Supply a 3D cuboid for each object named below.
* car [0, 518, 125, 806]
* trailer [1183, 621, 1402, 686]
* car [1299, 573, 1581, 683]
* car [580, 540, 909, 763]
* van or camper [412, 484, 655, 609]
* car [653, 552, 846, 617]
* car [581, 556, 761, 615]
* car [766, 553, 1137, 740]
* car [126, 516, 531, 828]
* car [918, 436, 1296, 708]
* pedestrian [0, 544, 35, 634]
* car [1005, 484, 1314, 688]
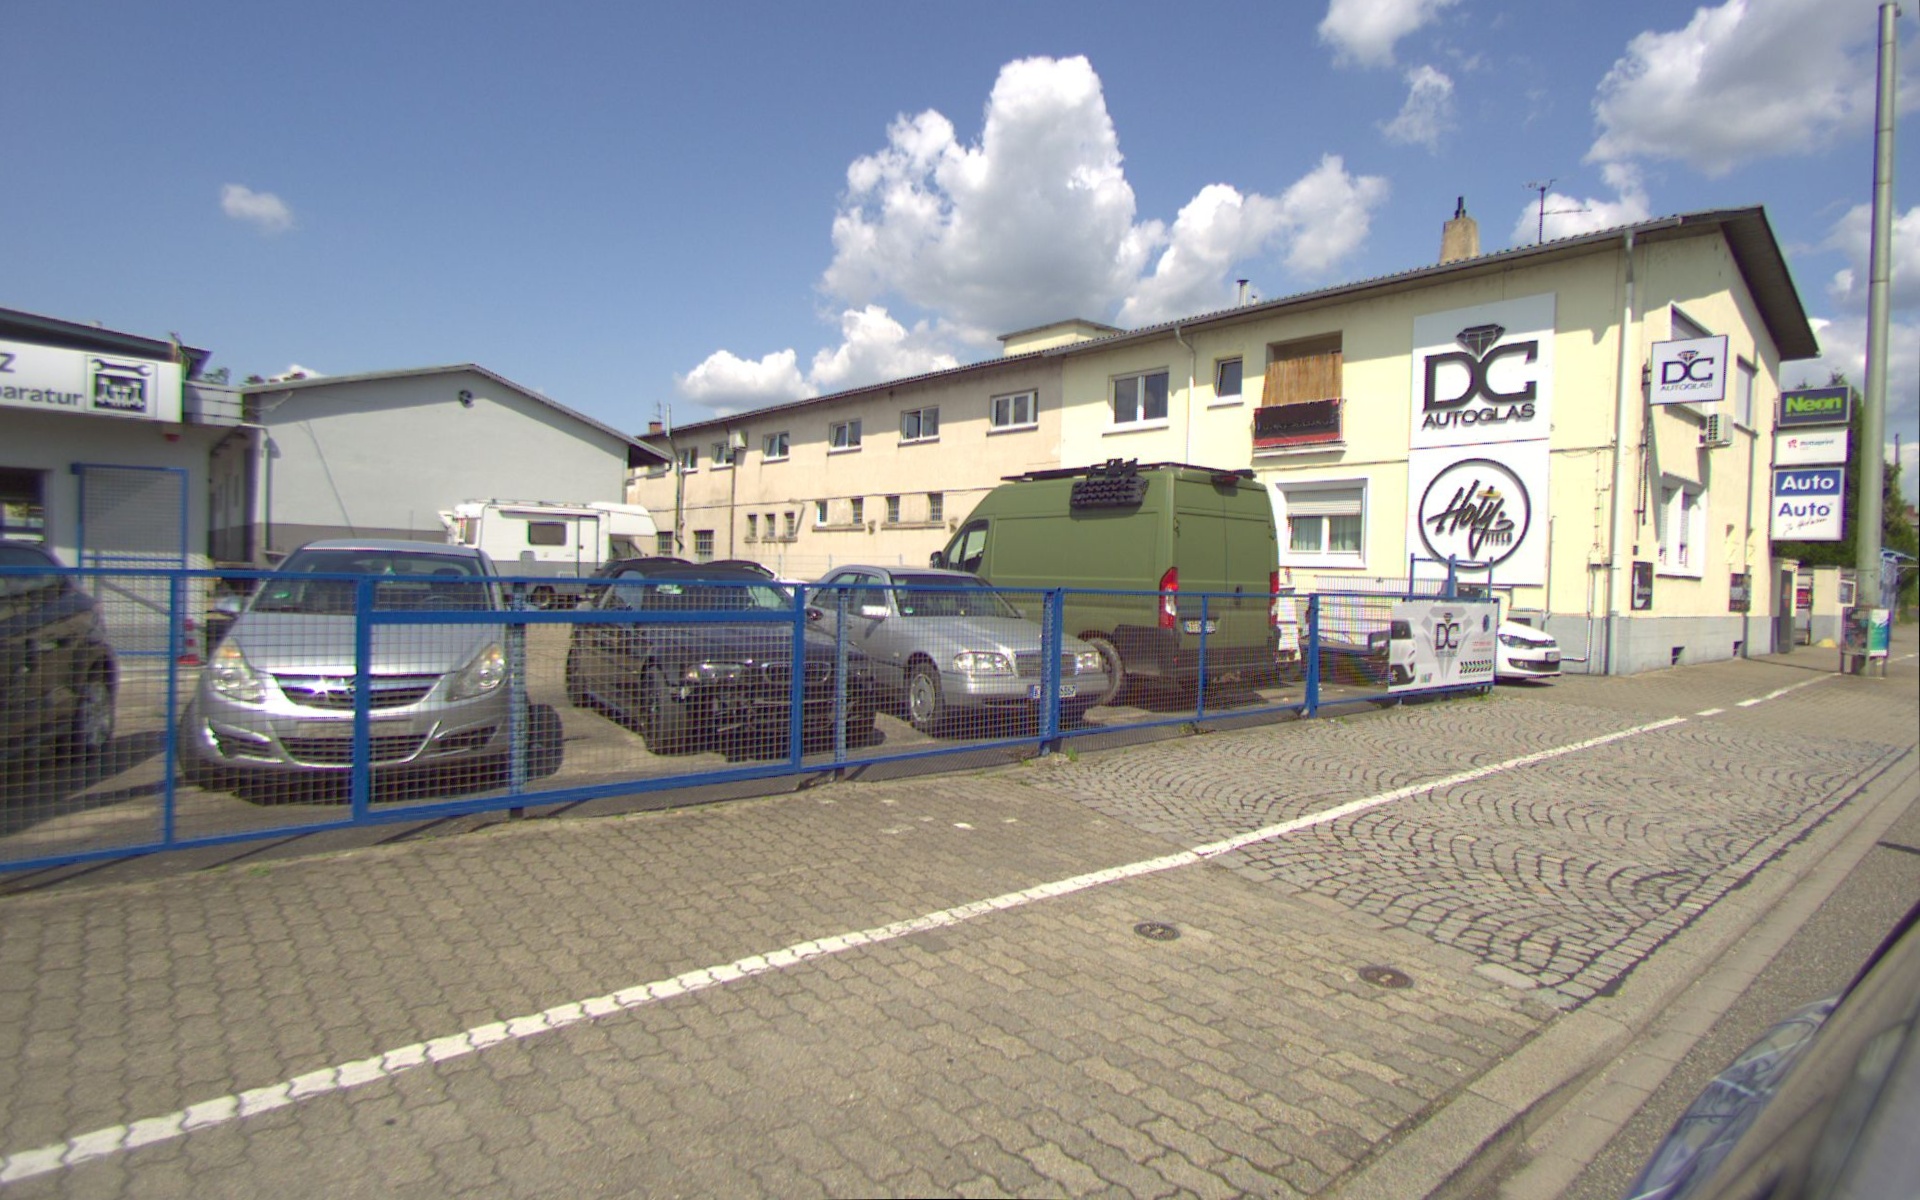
[{"bbox_3d":[-5.637,0.304,4.872,1.606,1.470,3.700,1,2,-25],"label":"car"},{"bbox_3d":[4.751,0.725,14.656,1.307,0.674,2.730,0,2,-42],"label":"trailer"},{"bbox_3d":[7.536,0.362,16.184,1.527,1.481,3.775,1,2,-39],"label":"car"},{"bbox_3d":[-2.126,0.274,8.902,1.737,1.470,4.128,1,2,-28],"label":"car"},{"bbox_3d":[-11.303,-1.325,27.115,5.556,3.002,2.272,0,2,-42],"label":"van or camper"},{"bbox_3d":[-4.843,-0.349,23.552,4.112,1.378,1.645,0,2,-41],"label":"car"},{"bbox_3d":[-7.305,-0.359,25.815,4.112,1.378,1.645,0,2,-41],"label":"car"},{"bbox_3d":[-0.336,0.287,10.208,1.679,1.470,4.292,1,2,-33],"label":"car"},{"bbox_3d":[-3.896,0.281,6.845,1.736,1.470,3.778,1,2,-24],"label":"car"},{"bbox_3d":[1.590,-0.349,12.261,2.075,2.675,4.208,1,2,-39],"label":"car"},{"bbox_3d":[-13.159,-0.157,13.885,0.652,1.224,0.566,1,1,-39],"label":"pedestrian"},{"bbox_3d":[2.623,-0.246,14.231,1.557,2.436,4.208,1,2,-39],"label":"car"}]
